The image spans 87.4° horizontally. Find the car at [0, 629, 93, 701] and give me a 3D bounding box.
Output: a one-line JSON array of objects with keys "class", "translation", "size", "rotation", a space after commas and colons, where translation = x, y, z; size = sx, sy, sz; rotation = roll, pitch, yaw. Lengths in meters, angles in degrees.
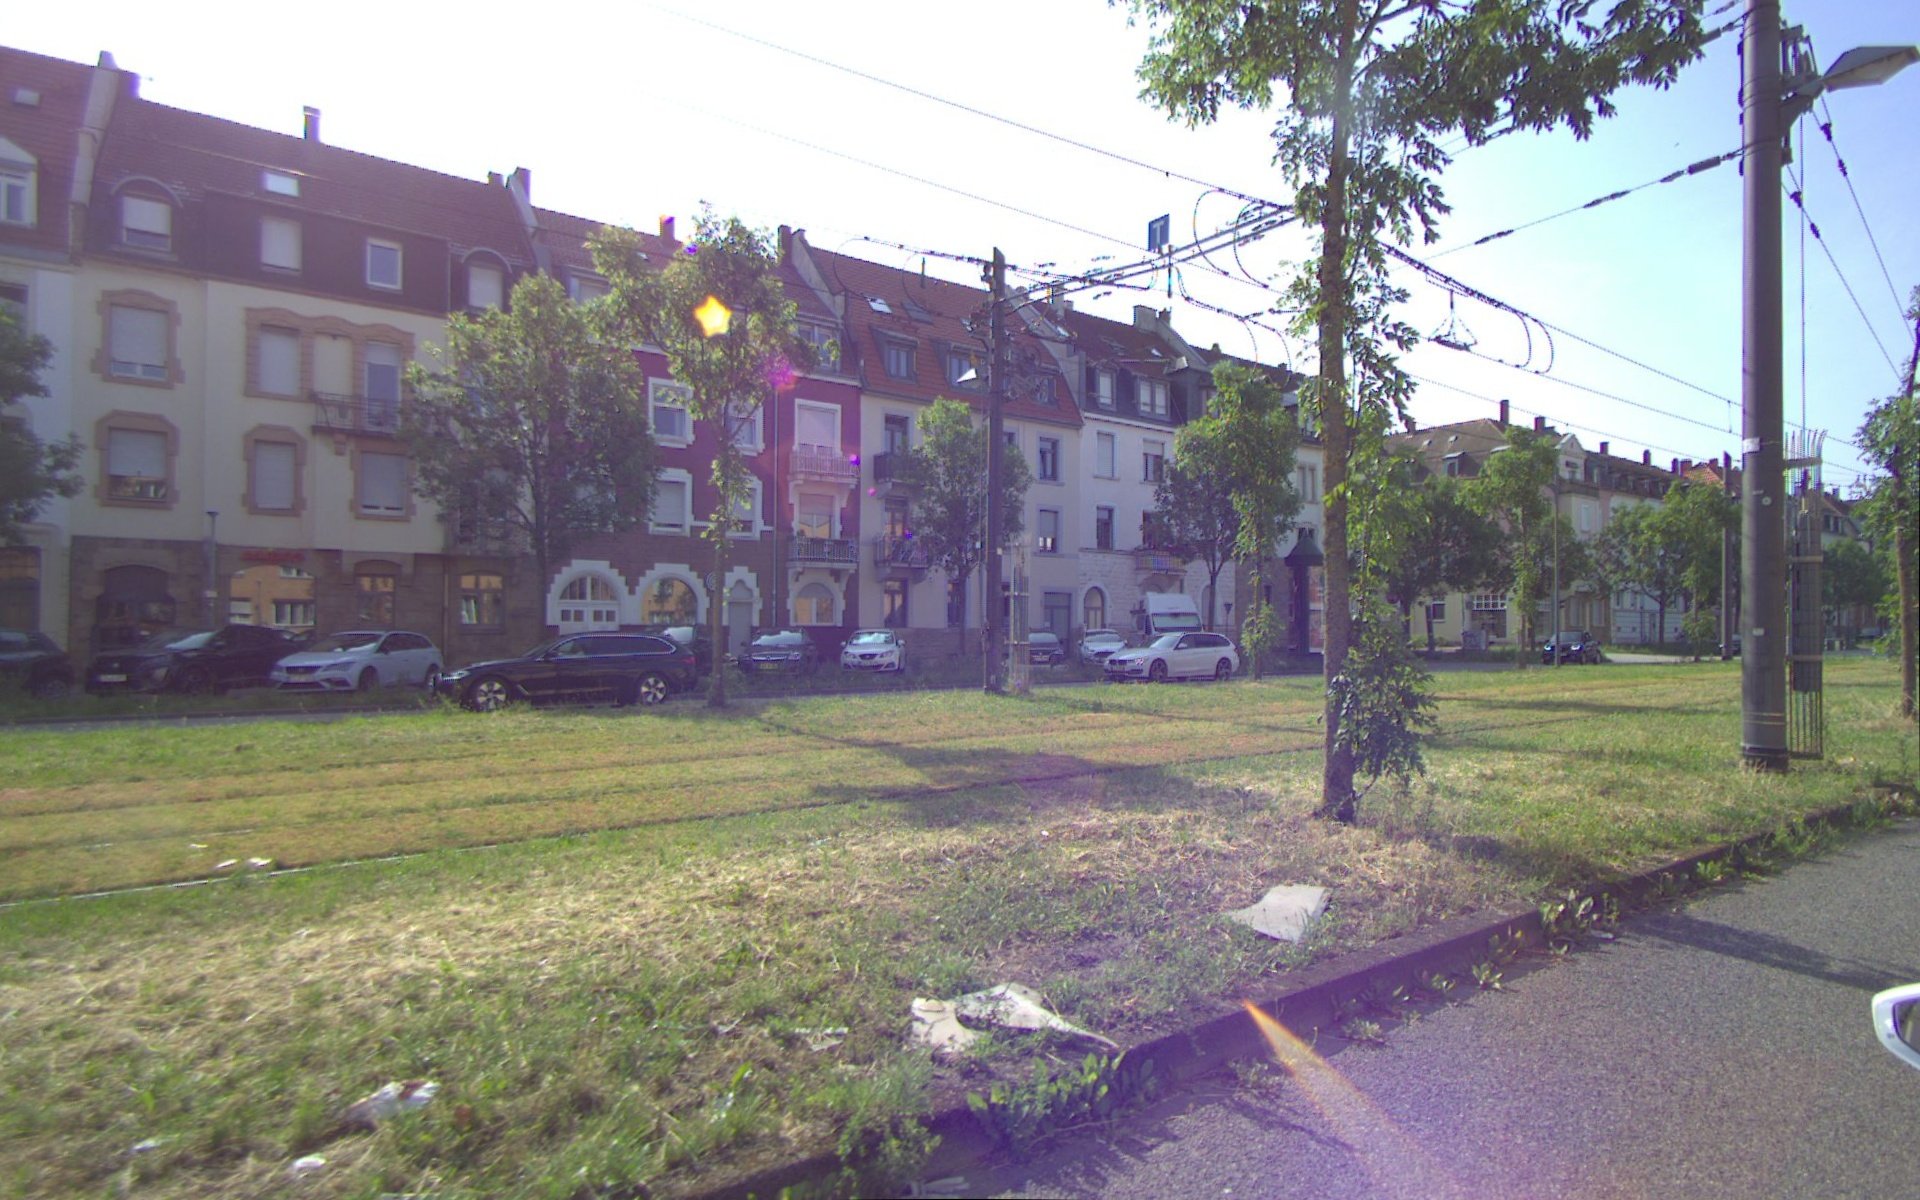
[{"class": "car", "translation": [-18.146, 1.216, 18.327], "size": [1.496, 1.258, 3.686], "rotation": [-1, 0, -1]}]

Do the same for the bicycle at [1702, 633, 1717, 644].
[{"class": "bicycle", "translation": [61.241, 3.149, 82.083], "size": [1.929, 0.868, 0.444], "rotation": [2, 0, -37]}]

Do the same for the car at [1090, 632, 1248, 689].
[{"class": "car", "translation": [6.183, 1.731, 29.581], "size": [4.602, 1.479, 1.934], "rotation": [2, 0, -35]}]

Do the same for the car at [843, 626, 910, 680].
[{"class": "car", "translation": [-2.395, 1.505, 29.539], "size": [1.629, 1.334, 4.014], "rotation": [2, 0, 0]}]

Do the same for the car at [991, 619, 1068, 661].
[{"class": "car", "translation": [2.305, 1.325, 34.156], "size": [1.633, 1.258, 3.678], "rotation": [2, 0, -12]}]

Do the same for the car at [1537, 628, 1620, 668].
[{"class": "car", "translation": [28.019, 2.160, 45.504], "size": [3.960, 1.677, 1.753], "rotation": [2, 0, -35]}]

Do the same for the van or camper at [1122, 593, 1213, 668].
[{"class": "van or camper", "translation": [7.833, 1.084, 38.521], "size": [2.156, 2.608, 5.926], "rotation": [2, 0, 0]}]

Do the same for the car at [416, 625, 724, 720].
[{"class": "car", "translation": [-7.526, 1.370, 19.657], "size": [5.325, 1.651, 1.982], "rotation": [2, -4, -34]}]

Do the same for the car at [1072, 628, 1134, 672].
[{"class": "car", "translation": [5.034, 1.725, 35.778], "size": [1.629, 1.349, 3.686], "rotation": [2, 0, -1]}]

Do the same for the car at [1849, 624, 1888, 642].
[{"class": "car", "translation": [89.600, 3.242, 99.037], "size": [4.731, 1.650, 1.979], "rotation": [1, 0, -37]}]

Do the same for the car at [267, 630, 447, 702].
[{"class": "car", "translation": [-12.766, 1.345, 21.547], "size": [1.629, 1.258, 3.686], "rotation": [2, 0, -1]}]

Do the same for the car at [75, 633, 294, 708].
[{"class": "car", "translation": [-15.555, 1.364, 20.417], "size": [1.630, 1.258, 3.686], "rotation": [1, 0, -1]}]

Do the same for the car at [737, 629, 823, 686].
[{"class": "car", "translation": [-4.703, 1.473, 26.665], "size": [1.629, 1.258, 3.686], "rotation": [2, 0, -1]}]

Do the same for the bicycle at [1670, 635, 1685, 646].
[{"class": "bicycle", "translation": [55.813, 3.152, 78.137], "size": [1.929, 0.799, 0.434], "rotation": [2, 0, -37]}]

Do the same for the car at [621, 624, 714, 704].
[{"class": "car", "translation": [-7.568, 1.601, 26.365], "size": [1.801, 1.766, 4.639], "rotation": [2, 0, -10]}]

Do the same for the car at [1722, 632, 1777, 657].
[{"class": "car", "translation": [50.550, 2.831, 64.275], "size": [3.888, 1.452, 1.799], "rotation": [2, 0, -36]}]

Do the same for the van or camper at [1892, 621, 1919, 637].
[{"class": "van or camper", "translation": [101.102, 3.048, 105.430], "size": [1.964, 1.645, 4.849], "rotation": [2, 0, -2]}]
